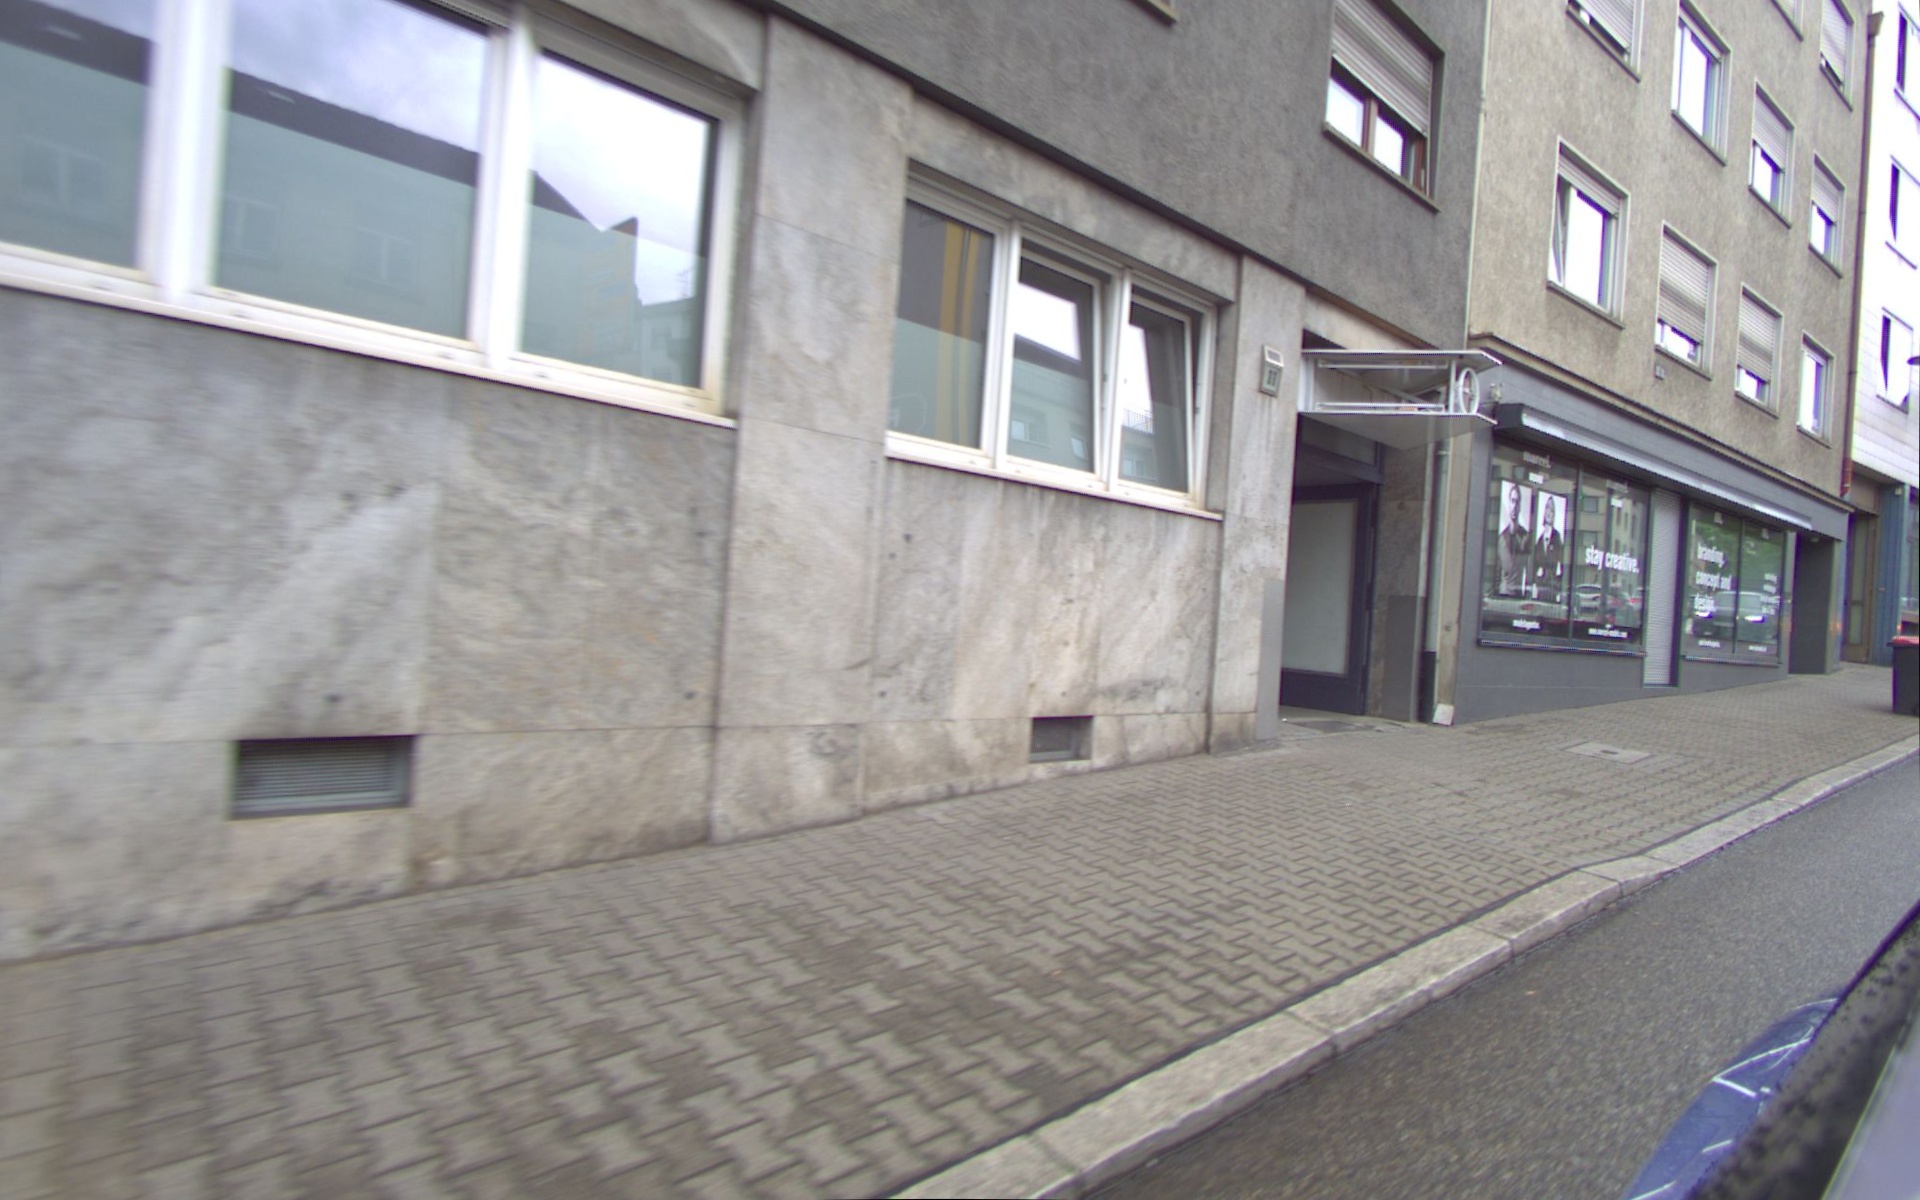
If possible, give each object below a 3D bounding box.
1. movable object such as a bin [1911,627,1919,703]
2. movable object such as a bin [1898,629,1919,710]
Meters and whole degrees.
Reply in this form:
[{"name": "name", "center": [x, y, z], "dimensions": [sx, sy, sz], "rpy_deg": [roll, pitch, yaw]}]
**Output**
[{"name": "movable object such as a bin", "center": [12.538, 0.857, 12.858], "dimensions": [0.527, 0.962, 0.527], "rpy_deg": [5, -2, -34]}, {"name": "movable object such as a bin", "center": [12.084, 0.878, 12.550], "dimensions": [0.527, 0.993, 0.526], "rpy_deg": [5, -2, -34]}]
